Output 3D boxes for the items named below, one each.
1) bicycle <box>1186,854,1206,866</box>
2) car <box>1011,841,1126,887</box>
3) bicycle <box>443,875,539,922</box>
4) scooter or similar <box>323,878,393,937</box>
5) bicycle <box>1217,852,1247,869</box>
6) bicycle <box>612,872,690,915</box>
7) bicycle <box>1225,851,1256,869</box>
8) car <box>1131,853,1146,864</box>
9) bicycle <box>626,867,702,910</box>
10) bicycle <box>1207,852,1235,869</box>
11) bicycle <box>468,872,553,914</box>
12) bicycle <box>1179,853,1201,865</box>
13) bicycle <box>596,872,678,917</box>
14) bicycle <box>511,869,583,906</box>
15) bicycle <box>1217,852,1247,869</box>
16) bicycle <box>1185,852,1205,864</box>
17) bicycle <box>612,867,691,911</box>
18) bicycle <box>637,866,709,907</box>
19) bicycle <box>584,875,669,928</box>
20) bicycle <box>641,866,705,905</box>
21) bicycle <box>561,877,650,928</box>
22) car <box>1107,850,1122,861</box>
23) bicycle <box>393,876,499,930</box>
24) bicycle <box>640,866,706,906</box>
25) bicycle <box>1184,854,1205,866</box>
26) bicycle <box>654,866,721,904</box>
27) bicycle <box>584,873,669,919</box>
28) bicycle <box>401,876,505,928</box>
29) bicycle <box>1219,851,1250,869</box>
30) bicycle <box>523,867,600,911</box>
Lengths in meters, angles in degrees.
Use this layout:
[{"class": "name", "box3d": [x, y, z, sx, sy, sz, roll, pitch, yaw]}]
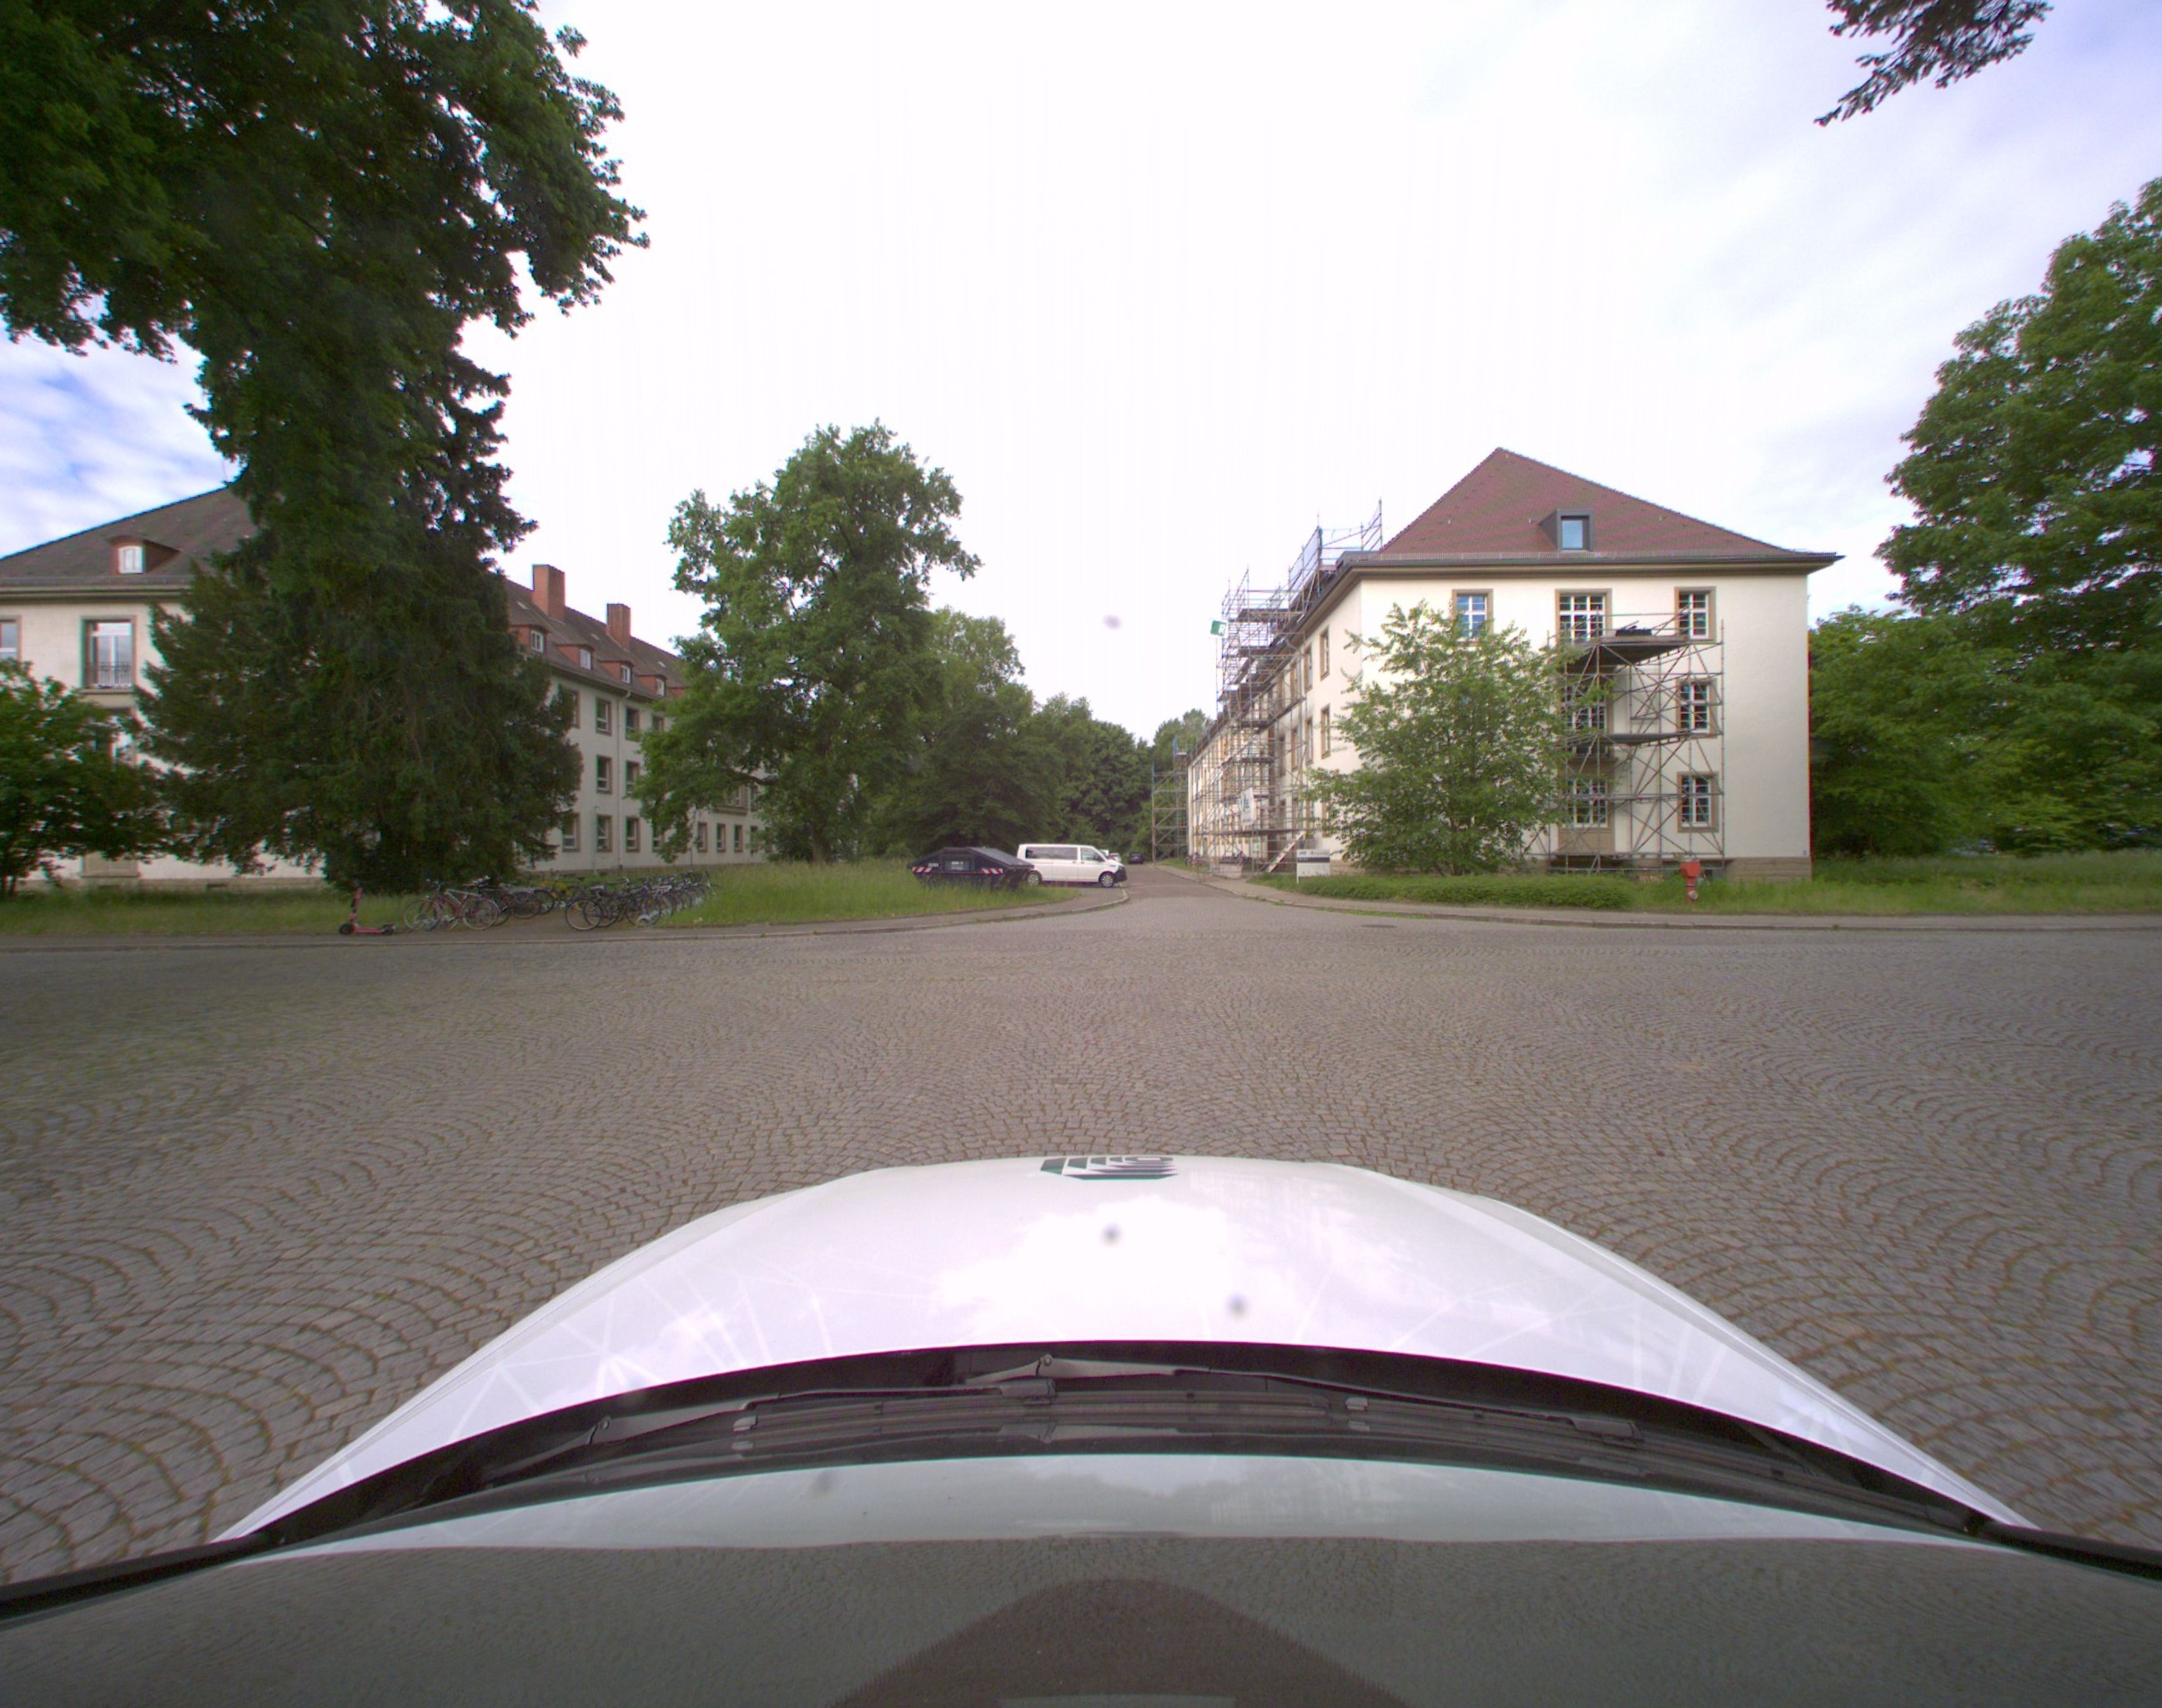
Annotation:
[{"class": "bicycle", "box3d": [10.815, 0.537, 76.588, 1.845, 1.095, 0.512, -1, 0, 8]}, {"class": "car", "box3d": [-0.551, 0.457, 38.044, 5.240, 1.996, 1.969, -1, 0, 1]}, {"class": "bicycle", "box3d": [-14.681, 1.092, 20.315, 1.828, 1.065, 0.613, -1, 0, -25]}, {"class": "scooter or similar", "box3d": [-15.411, 1.132, 17.375, 1.131, 1.210, 0.357, -1, 0, -3]}, {"class": "bicycle", "box3d": [9.731, 0.408, 52.561, 1.845, 1.095, 0.512, -1, 0, 8]}, {"class": "bicycle", "box3d": [-10.948, 0.992, 20.777, 1.665, 1.008, 0.475, -2, 0, -15]}, {"class": "bicycle", "box3d": [9.892, 0.396, 50.416, 1.845, 1.095, 0.512, -1, 0, 8]}, {"class": "car", "box3d": [7.091, 0.536, 100.759, 1.574, 1.371, 3.952, -1, 0, -1]}, {"class": "bicycle", "box3d": [-11.330, 0.915, 22.176, 1.766, 1.112, 0.474, -1, 0, -21]}, {"class": "bicycle", "box3d": [9.476, 0.421, 54.989, 1.845, 1.095, 0.512, -1, 0, 8]}, {"class": "bicycle", "box3d": [-15.120, 1.019, 21.617, 1.757, 1.065, 0.547, -1, 0, -25]}, {"class": "bicycle", "box3d": [9.743, 0.442, 72.573, 1.839, 1.095, 0.514, -1, 0, 23]}, {"class": "bicycle", "box3d": [-10.890, 0.988, 20.003, 1.665, 1.008, 0.475, -2, 0, -15]}, {"class": "bicycle", "box3d": [-15.833, 0.980, 24.163, 1.679, 1.042, 0.549, -1, 0, -13]}, {"class": "bicycle", "box3d": [9.598, 0.407, 51.762, 1.845, 1.095, 0.512, -1, 0, 8]}, {"class": "bicycle", "box3d": [10.591, 0.402, 75.801, 1.845, 1.095, 0.512, -1, 0, 8]}, {"class": "bicycle", "box3d": [-11.390, 0.912, 21.641, 1.762, 1.112, 0.475, -1, 0, -15]}, {"class": "bicycle", "box3d": [-11.712, 0.922, 23.423, 1.762, 1.112, 0.475, -1, 0, -15]}, {"class": "bicycle", "box3d": [-10.310, 1.059, 18.509, 1.627, 1.074, 0.473, -2, 0, -30]}, {"class": "bicycle", "box3d": [-12.178, 0.933, 24.318, 1.646, 1.112, 0.441, -1, 0, -10]}, {"class": "bicycle", "box3d": [-10.361, 1.040, 17.801, 1.627, 1.008, 0.473, -2, 0, -30]}, {"class": "car", "box3d": [4.141, 0.221, 100.790, 1.574, 1.339, 3.952, -1, 0, -1]}, {"class": "bicycle", "box3d": [-14.159, 1.083, 18.199, 1.768, 1.114, 0.548, -1, 0, -17]}, {"class": "bicycle", "box3d": [-11.929, 0.930, 23.823, 1.646, 1.112, 0.441, -1, 0, -10]}, {"class": "bicycle", "box3d": [10.347, 0.526, 74.429, 1.839, 1.095, 0.514, -1, 0, 23]}, {"class": "bicycle", "box3d": [-12.013, 0.930, 24.916, 1.762, 1.112, 0.475, -1, 0, -15]}, {"class": "bicycle", "box3d": [-10.801, 0.984, 19.389, 1.665, 1.008, 0.475, -2, 0, -15]}, {"class": "bicycle", "box3d": [-14.347, 1.082, 18.654, 1.803, 1.114, 0.548, -1, 0, -17]}, {"class": "bicycle", "box3d": [9.590, 0.399, 50.968, 1.845, 1.095, 0.512, -1, 0, 8]}, {"class": "bicycle", "box3d": [-14.460, 0.970, 22.695, 1.747, 1.171, 0.550, -1, 0, -7]}]
